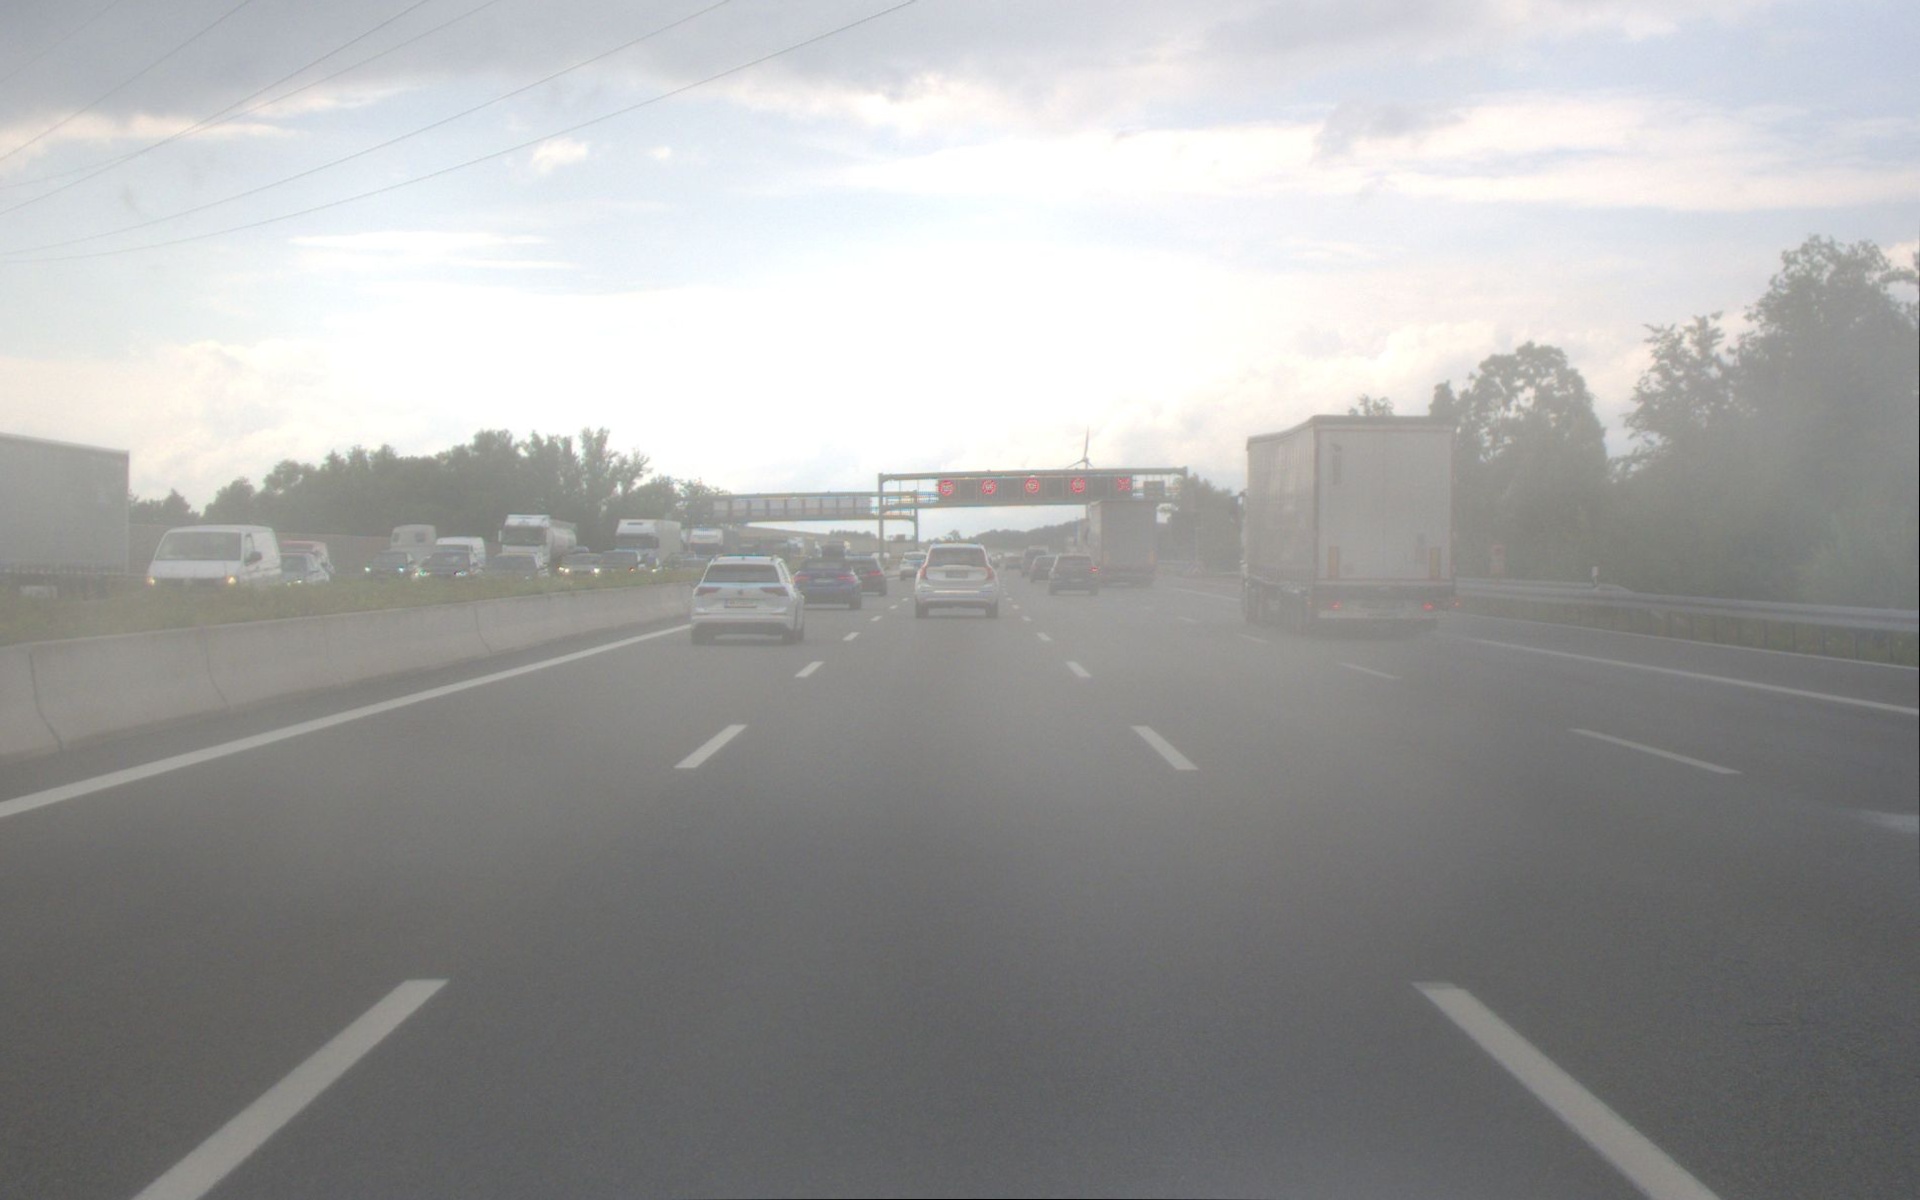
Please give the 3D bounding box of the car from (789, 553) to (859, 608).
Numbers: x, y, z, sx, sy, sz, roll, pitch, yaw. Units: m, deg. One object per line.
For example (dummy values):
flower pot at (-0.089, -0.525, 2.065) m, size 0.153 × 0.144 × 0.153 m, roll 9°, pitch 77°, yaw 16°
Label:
car at (-3.681, -0.552, 93.617) m, size 1.772 × 1.436 × 4.055 m, roll 0°, pitch 1°, yaw -1°

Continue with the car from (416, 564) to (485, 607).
car at (-18.023, -0.531, 121.763) m, size 1.765 × 1.449 × 4.943 m, roll 1°, pitch 1°, yaw -1°

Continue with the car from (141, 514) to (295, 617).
car at (-14.420, -0.669, 67.115) m, size 1.922 × 1.893 × 5.161 m, roll 1°, pitch 1°, yaw -1°

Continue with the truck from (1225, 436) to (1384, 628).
truck at (7.460, -1.471, 75.215) m, size 2.961 × 4.006 × 6.588 m, roll 0°, pitch 1°, yaw 2°

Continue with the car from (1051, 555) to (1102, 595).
car at (4.342, -0.943, 128.411) m, size 1.836 × 1.436 × 4.055 m, roll 0°, pitch 1°, yaw 1°

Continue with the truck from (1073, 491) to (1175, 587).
truck at (7.645, -2.846, 162.310) m, size 4.180 × 4.273 × 12.613 m, roll 1°, pitch 1°, yaw 0°

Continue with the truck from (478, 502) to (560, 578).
truck at (-25.803, -3.498, 201.711) m, size 3.660 × 4.304 × 8.238 m, roll 1°, pitch 1°, yaw 0°

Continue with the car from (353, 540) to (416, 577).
car at (-25.124, -1.811, 150.178) m, size 1.965 × 1.590 × 4.821 m, roll 1°, pitch 1°, yaw -1°

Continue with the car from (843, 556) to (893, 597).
car at (-3.339, -0.866, 125.348) m, size 1.772 × 1.436 × 4.056 m, roll 0°, pitch 1°, yaw -1°

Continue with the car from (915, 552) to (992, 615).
car at (-0.175, -0.412, 81.499) m, size 1.772 × 1.436 × 4.055 m, roll 0°, pitch 1°, yaw -1°

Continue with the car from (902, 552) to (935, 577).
car at (-2.433, -2.097, 201.145) m, size 1.772 × 1.436 × 4.055 m, roll 0°, pitch 1°, yaw 1°

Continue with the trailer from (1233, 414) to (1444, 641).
trailer at (7.282, -1.384, 68.184) m, size 2.961 × 4.006 × 14.118 m, roll 0°, pitch 1°, yaw 2°

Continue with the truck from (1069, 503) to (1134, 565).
truck at (9.853, -4.569, 240.414) m, size 4.244 × 4.162 × 11.989 m, roll 1°, pitch 1°, yaw 1°

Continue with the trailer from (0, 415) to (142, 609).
trailer at (-21.814, -1.926, 78.226) m, size 3.319 × 4.047 × 13.289 m, roll 1°, pitch 1°, yaw -1°

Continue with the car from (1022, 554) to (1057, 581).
car at (4.272, -1.753, 185.542) m, size 1.836 × 1.436 × 4.055 m, roll 0°, pitch 1°, yaw 1°

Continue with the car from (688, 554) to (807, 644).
car at (-3.519, -0.050, 57.431) m, size 1.772 × 1.436 × 3.874 m, roll 0°, pitch 1°, yaw 0°

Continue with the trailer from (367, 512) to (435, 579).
trailer at (-25.184, -2.453, 155.044) m, size 2.247 × 2.952 × 4.901 m, roll 1°, pitch 0°, yaw -1°

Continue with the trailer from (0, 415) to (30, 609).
trailer at (-21.695, -1.855, 71.026) m, size 3.319 × 4.030 × 6.079 m, roll 1°, pitch 0°, yaw -1°
